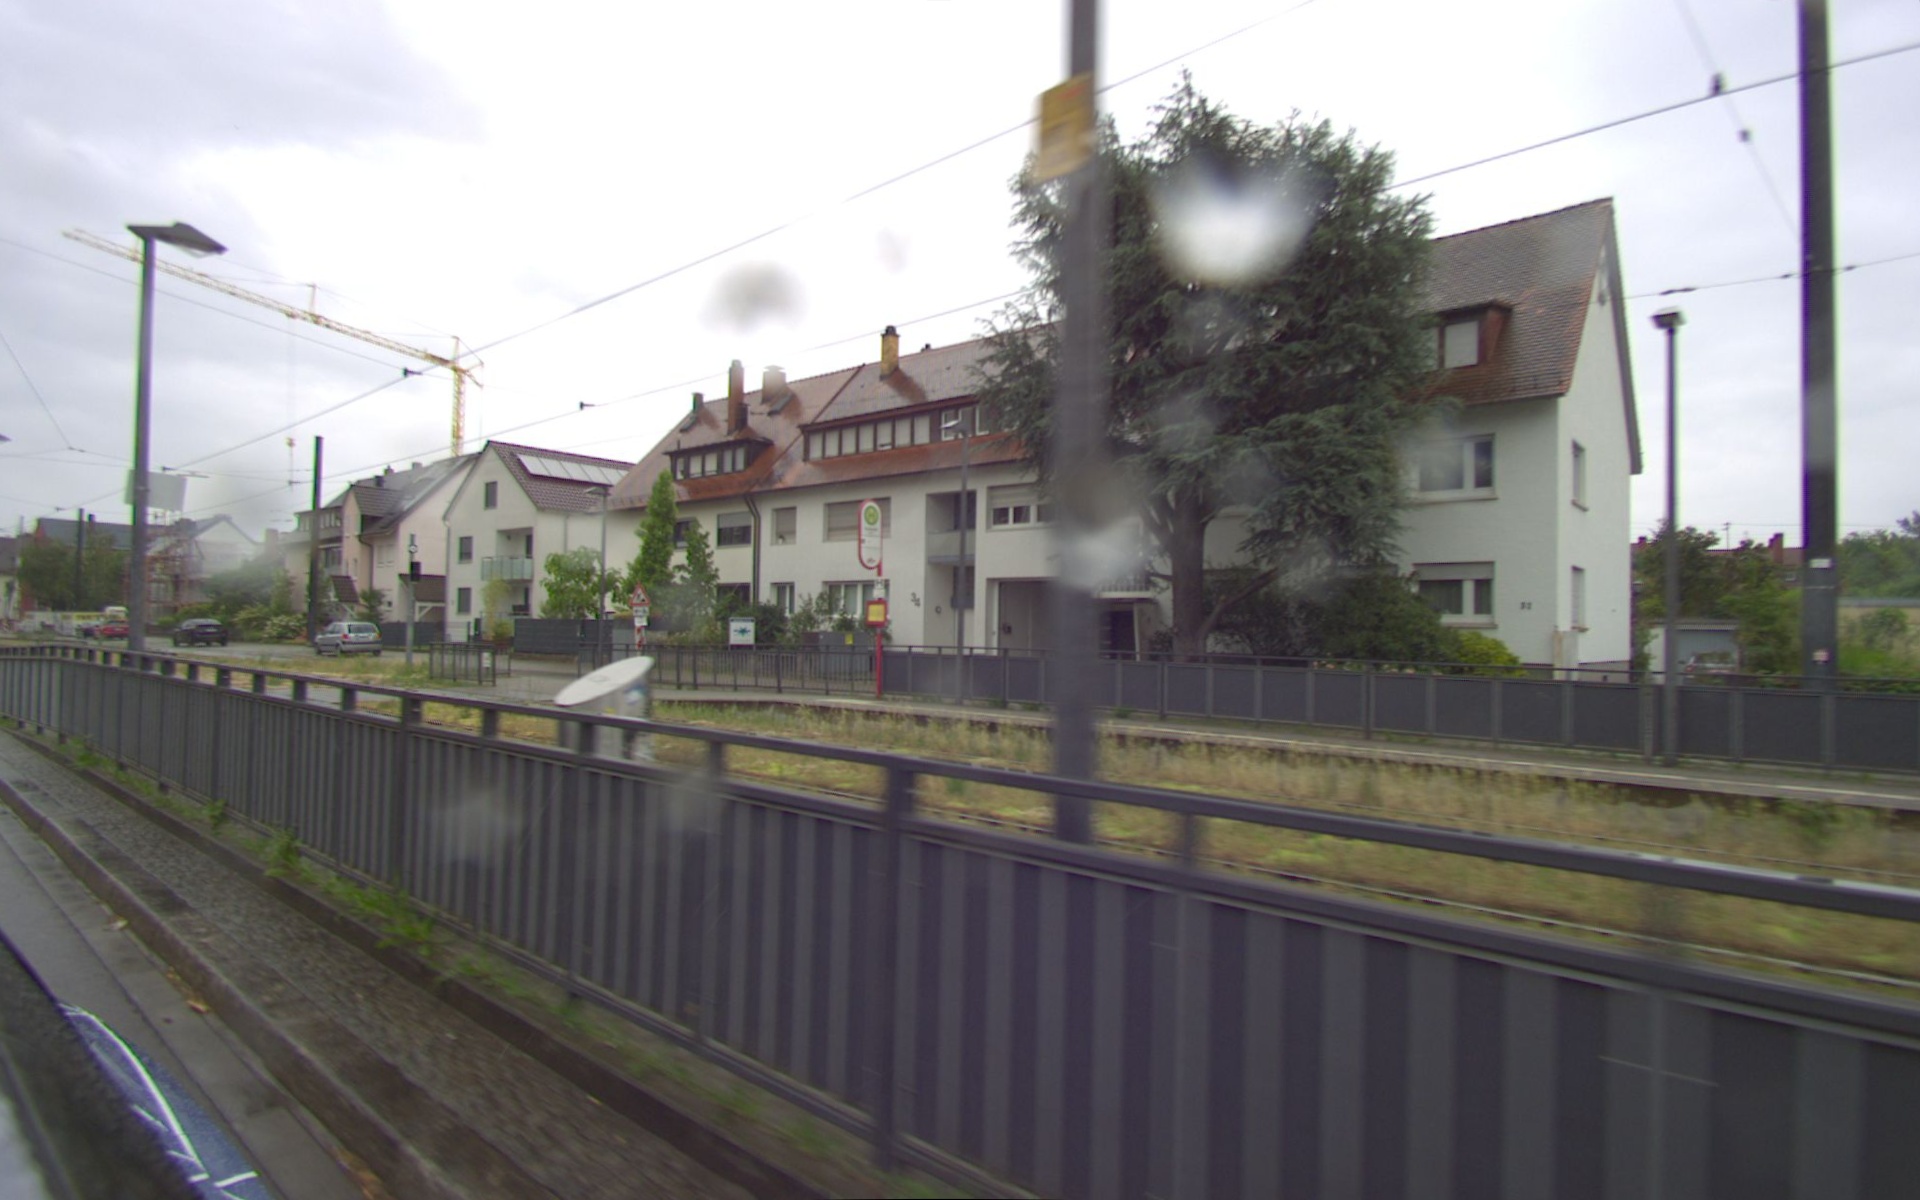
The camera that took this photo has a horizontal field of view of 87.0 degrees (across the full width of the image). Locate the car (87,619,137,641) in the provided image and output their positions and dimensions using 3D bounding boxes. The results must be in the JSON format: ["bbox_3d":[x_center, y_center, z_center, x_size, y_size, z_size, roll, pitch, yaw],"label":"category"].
[{"bbox_3d":[-59.312,2.087,70.788,3.839,1.383,1.974,0,-1,38],"label":"car"}]

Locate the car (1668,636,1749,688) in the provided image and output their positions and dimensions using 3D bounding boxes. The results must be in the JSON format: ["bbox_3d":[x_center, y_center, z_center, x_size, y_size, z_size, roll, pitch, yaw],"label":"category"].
[{"bbox_3d":[25.691,2.067,34.685,1.999,1.586,3.946,0,-1,40],"label":"car"}]

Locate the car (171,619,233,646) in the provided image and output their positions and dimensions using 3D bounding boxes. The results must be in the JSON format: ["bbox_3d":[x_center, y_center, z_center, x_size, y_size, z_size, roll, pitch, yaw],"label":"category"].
[{"bbox_3d":[-43.189,1.837,57.627,4.169,1.437,1.819,-1,-2,38],"label":"car"}]

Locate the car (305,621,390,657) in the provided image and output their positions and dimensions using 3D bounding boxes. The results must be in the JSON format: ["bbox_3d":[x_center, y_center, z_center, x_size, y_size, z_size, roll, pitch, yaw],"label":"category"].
[{"bbox_3d":[-26.500,1.660,43.752,3.654,1.424,1.974,0,-1,38],"label":"car"}]

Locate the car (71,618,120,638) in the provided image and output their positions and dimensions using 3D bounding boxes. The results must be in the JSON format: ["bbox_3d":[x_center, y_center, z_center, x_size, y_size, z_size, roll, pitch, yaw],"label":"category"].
[{"bbox_3d":[-63.550,2.055,74.348,4.169,1.420,1.974,-2,-2,38],"label":"car"}]
